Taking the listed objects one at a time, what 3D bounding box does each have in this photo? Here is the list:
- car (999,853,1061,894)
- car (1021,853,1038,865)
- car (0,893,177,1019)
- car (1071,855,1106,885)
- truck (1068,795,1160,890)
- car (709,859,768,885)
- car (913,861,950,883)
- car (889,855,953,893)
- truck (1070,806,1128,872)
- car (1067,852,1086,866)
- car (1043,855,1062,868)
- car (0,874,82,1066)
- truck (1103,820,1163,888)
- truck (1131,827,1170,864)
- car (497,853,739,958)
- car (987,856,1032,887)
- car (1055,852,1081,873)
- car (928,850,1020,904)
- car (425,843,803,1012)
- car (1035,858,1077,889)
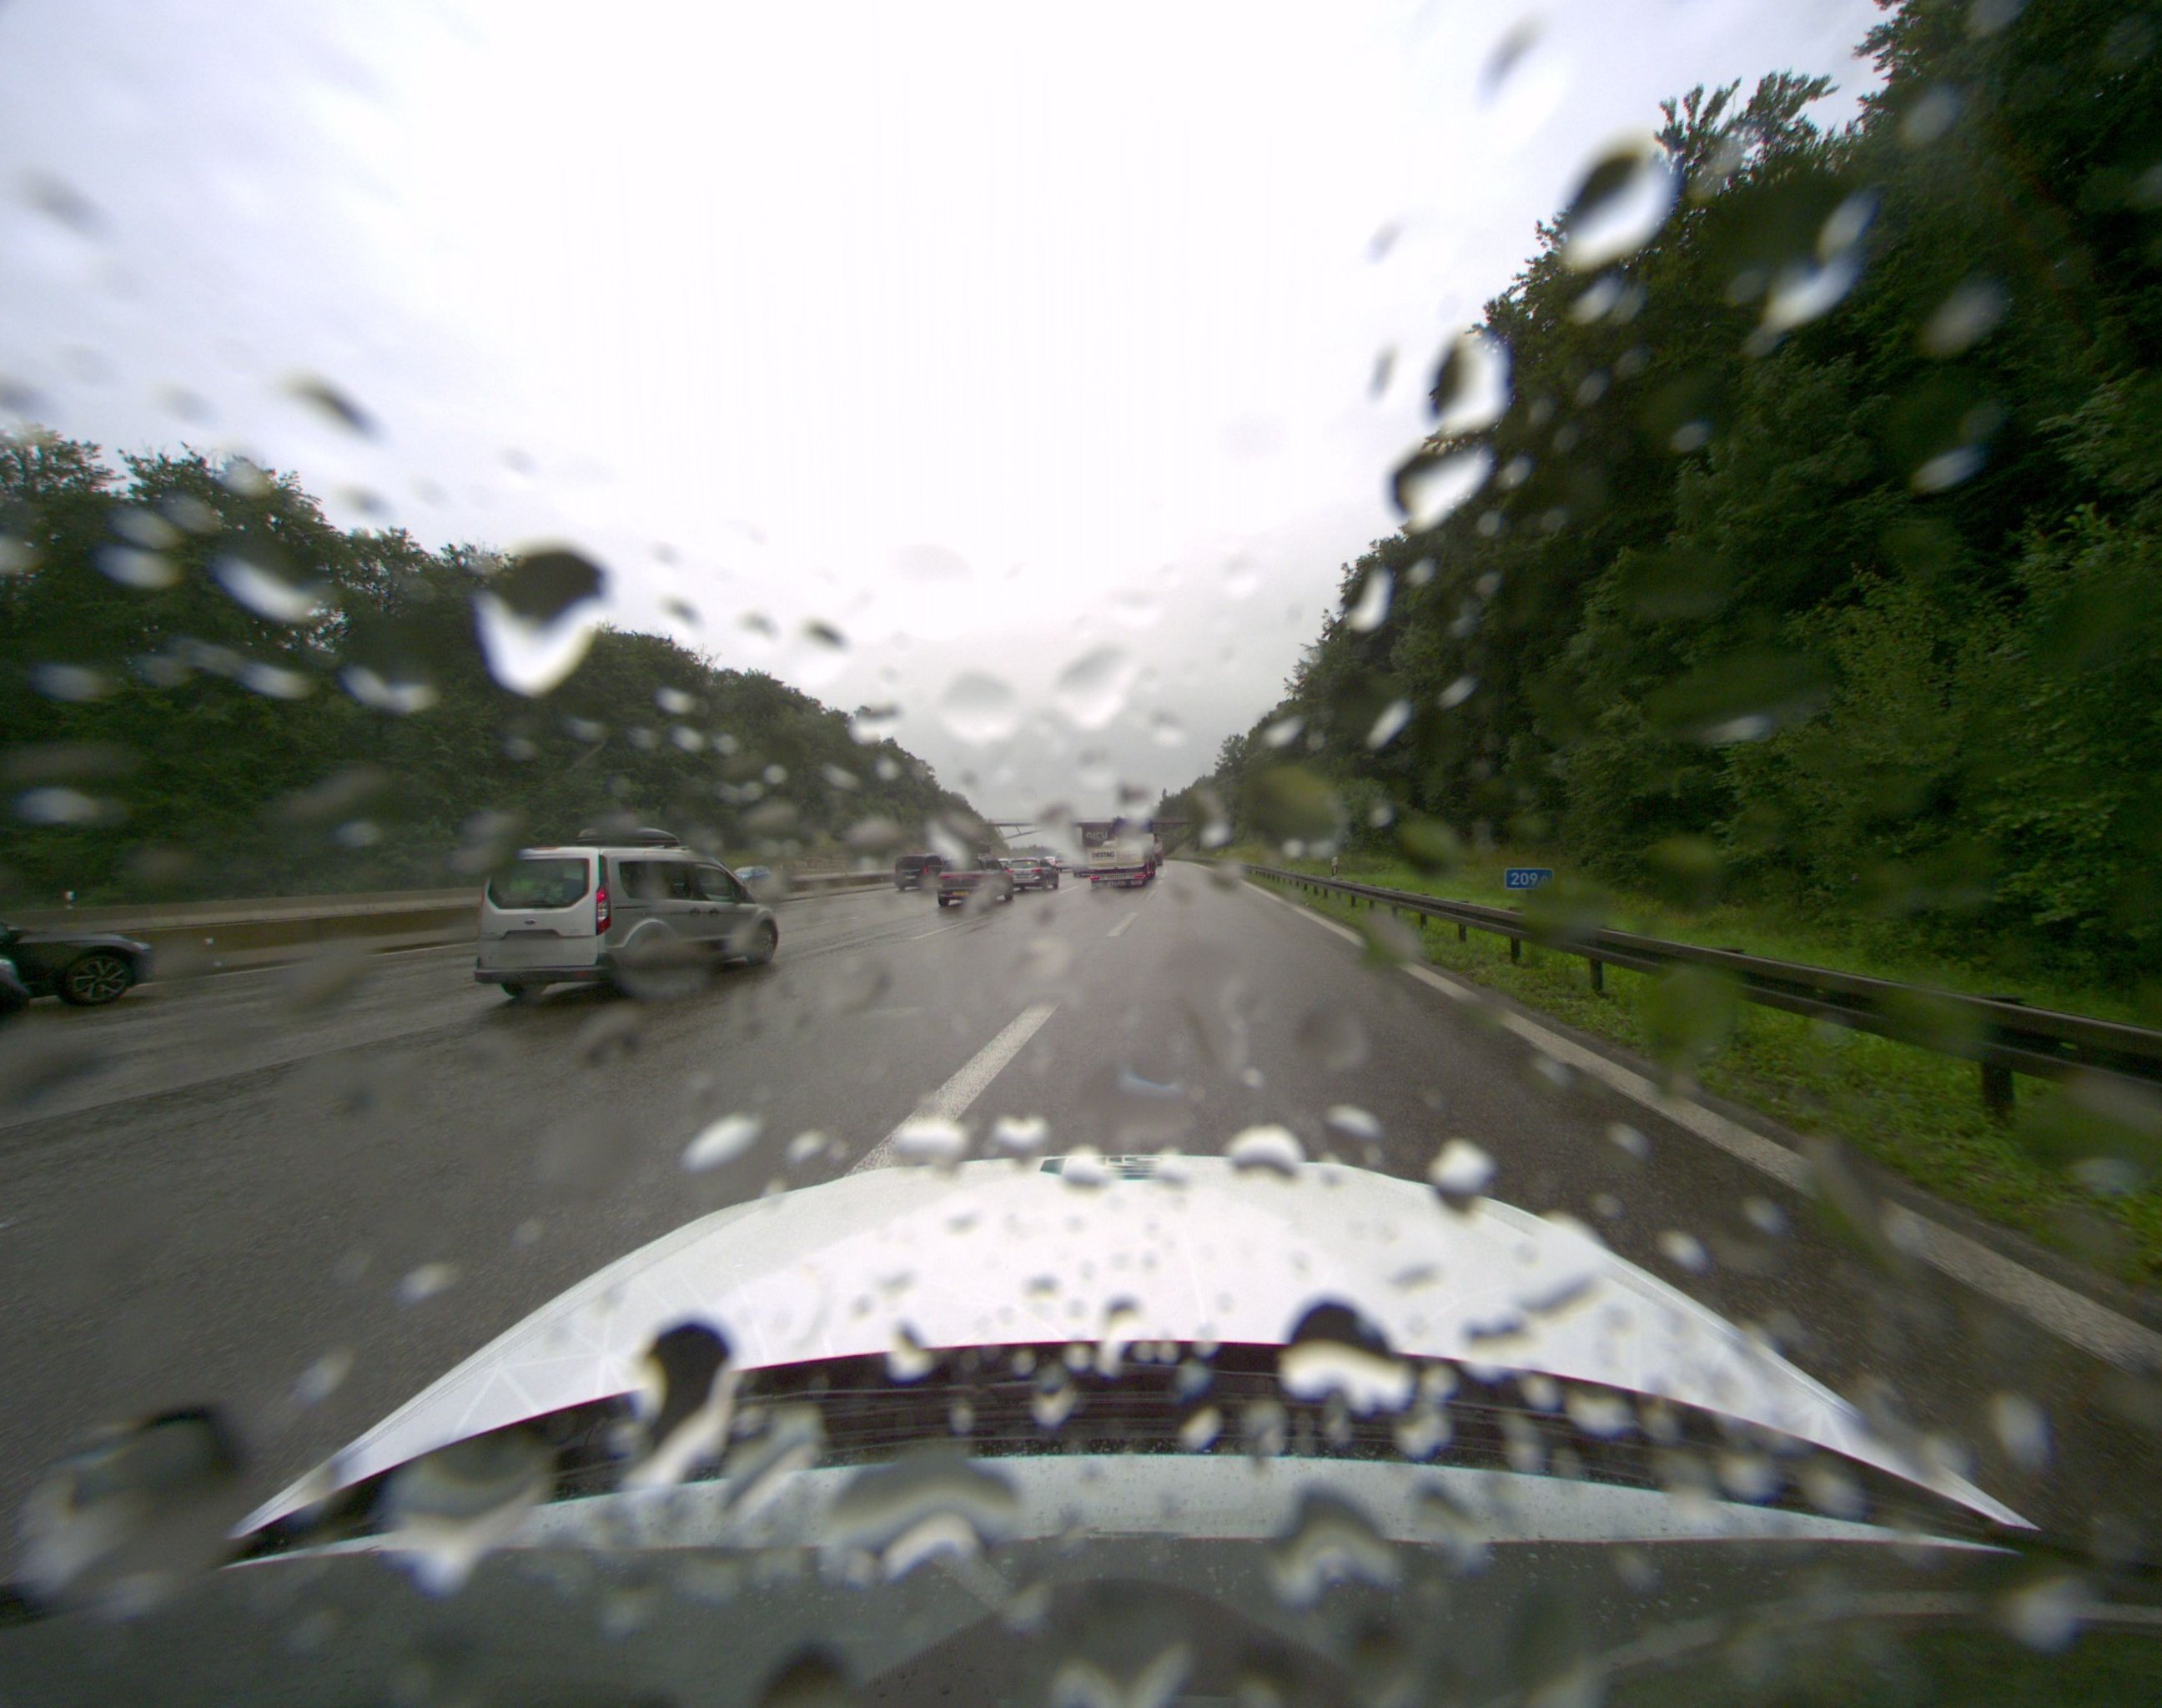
[{"bbox_3d":[-2.221,0.822,36.433,1.927,1.662,4.010,-2,0,9],"label":"car"},{"bbox_3d":[-7.787,0.831,123.401,1.985,1.678,4.003,2,-1,3],"label":"car"},{"bbox_3d":[-13.641,1.275,9.396,1.663,1.404,4.009,-2,0,8],"label":"car"},{"bbox_3d":[0.572,1.169,58.260,1.782,2.014,4.010,2,-1,9],"label":"car"},{"bbox_3d":[2.002,-0.511,41.889,3.580,4.105,11.583,-2,0,7],"label":"truck"},{"bbox_3d":[-24.356,1.223,58.106,1.798,1.683,4.382,-2,0,8],"label":"car"},{"bbox_3d":[-12.671,1.486,69.129,1.983,1.769,4.007,-2,0,6],"label":"car"},{"bbox_3d":[-8.544,1.032,43.977,1.917,1.832,4.597,-2,0,8],"label":"car"},{"bbox_3d":[1.854,-1.223,74.823,3.732,5.499,10.197,2,-1,9],"label":"truck"},{"bbox_3d":[-0.511,0.647,101.010,1.842,1.663,4.006,2,-1,6],"label":"car"},{"bbox_3d":[-3.325,0.894,95.727,1.613,1.448,3.768,2,-1,8],"label":"car"},{"bbox_3d":[-10.390,1.022,5.103,1.982,1.594,4.820,-2,0,9],"label":"car"},{"bbox_3d":[3.878,0.120,57.573,3.488,4.268,10.623,2,-1,7],"label":"truck"},{"bbox_3d":[8.511,-0.951,98.107,3.733,3.971,11.084,2,-1,9],"label":"truck"},{"bbox_3d":[-8.936,0.903,16.217,1.982,1.798,4.164,-2,0,9],"label":"car"},{"bbox_3d":[-4.109,1.000,47.628,1.745,1.647,4.008,-2,0,7],"label":"car"},{"bbox_3d":[-1.204,0.788,77.064,1.834,1.860,4.007,2,-1,6],"label":"car"},{"bbox_3d":[-3.508,0.766,27.455,1.982,1.636,4.009,2,-1,8],"label":"car"},{"bbox_3d":[-5.802,0.782,10.961,1.834,1.751,4.579,-3,0,10],"label":"car"},{"bbox_3d":[-1.395,1.097,47.234,1.745,1.647,4.008,-2,0,7],"label":"car"}]
